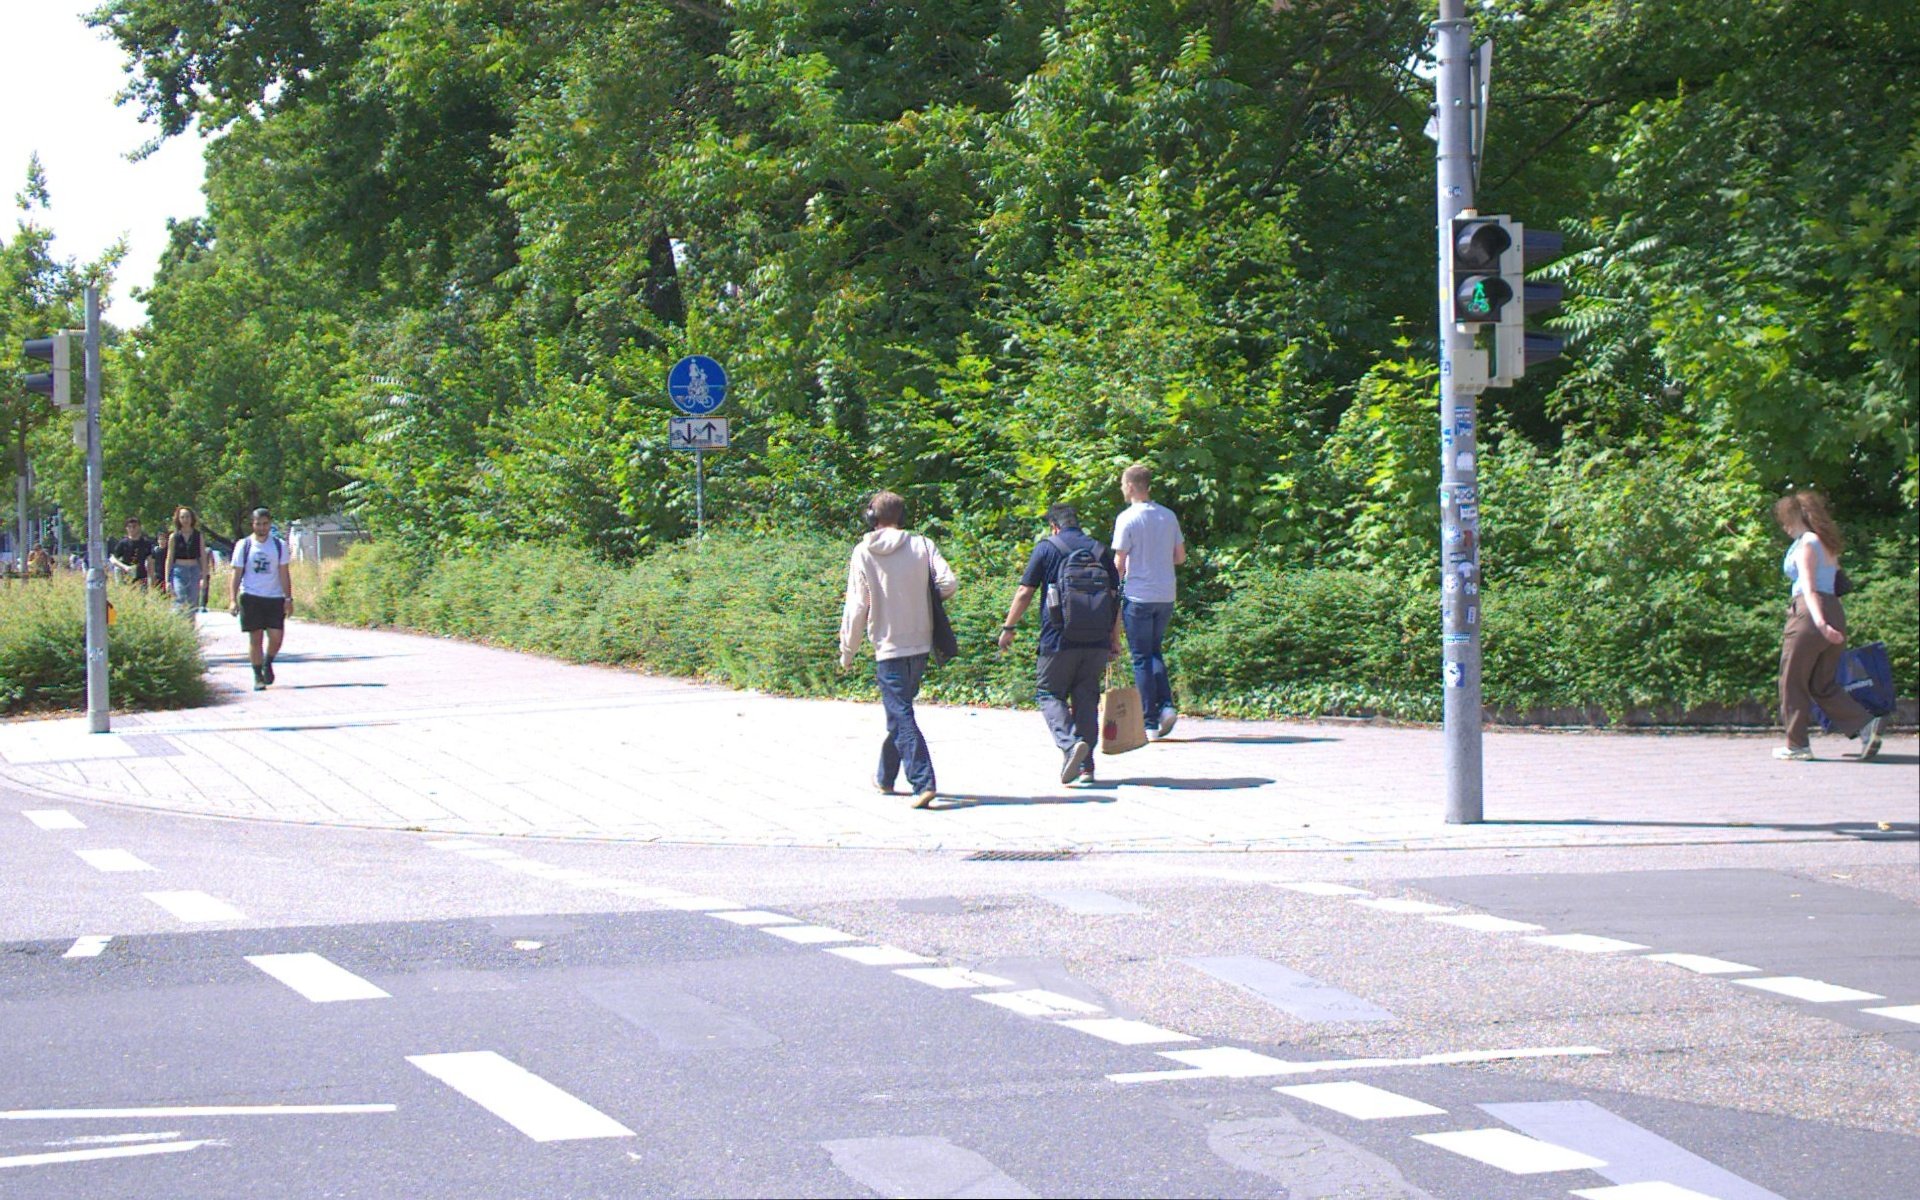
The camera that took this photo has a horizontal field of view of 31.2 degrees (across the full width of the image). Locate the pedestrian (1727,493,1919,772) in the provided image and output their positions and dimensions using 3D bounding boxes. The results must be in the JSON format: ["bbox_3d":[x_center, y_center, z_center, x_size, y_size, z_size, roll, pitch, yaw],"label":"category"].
[{"bbox_3d":[5.345,0.173,20.952,1.019,1.620,0.855,2,4,41],"label":"pedestrian"}]

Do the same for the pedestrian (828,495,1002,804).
[{"bbox_3d":[-0.268,0.252,19.500,0.795,1.698,1.183,0,2,-11],"label":"pedestrian"}]

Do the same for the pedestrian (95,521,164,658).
[{"bbox_3d":[-12.095,-0.157,50.045,0.838,1.962,0.861,-1,1,-21],"label":"pedestrian"}]

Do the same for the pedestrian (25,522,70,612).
[{"bbox_3d":[-20.124,-0.728,75.823,0.838,1.962,0.861,-1,1,-21],"label":"pedestrian"}]

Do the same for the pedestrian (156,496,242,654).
[{"bbox_3d":[-9.119,-0.304,41.151,0.838,1.861,1.019,-1,1,-21],"label":"pedestrian"}]

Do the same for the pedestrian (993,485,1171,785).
[{"bbox_3d":[0.701,0.177,20.089,0.795,1.698,1.183,0,2,-11],"label":"pedestrian"}]

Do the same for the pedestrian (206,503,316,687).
[{"bbox_3d":[-6.667,-0.051,32.774,0.851,1.695,0.931,-2,1,-19],"label":"pedestrian"}]

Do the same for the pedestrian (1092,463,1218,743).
[{"bbox_3d":[1.279,0.008,22.619,0.670,1.814,0.703,0,2,-11],"label":"pedestrian"}]

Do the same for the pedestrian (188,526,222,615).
[{"bbox_3d":[-16.191,-0.630,73.696,0.502,1.884,0.560,1,0,-38],"label":"pedestrian"}]
